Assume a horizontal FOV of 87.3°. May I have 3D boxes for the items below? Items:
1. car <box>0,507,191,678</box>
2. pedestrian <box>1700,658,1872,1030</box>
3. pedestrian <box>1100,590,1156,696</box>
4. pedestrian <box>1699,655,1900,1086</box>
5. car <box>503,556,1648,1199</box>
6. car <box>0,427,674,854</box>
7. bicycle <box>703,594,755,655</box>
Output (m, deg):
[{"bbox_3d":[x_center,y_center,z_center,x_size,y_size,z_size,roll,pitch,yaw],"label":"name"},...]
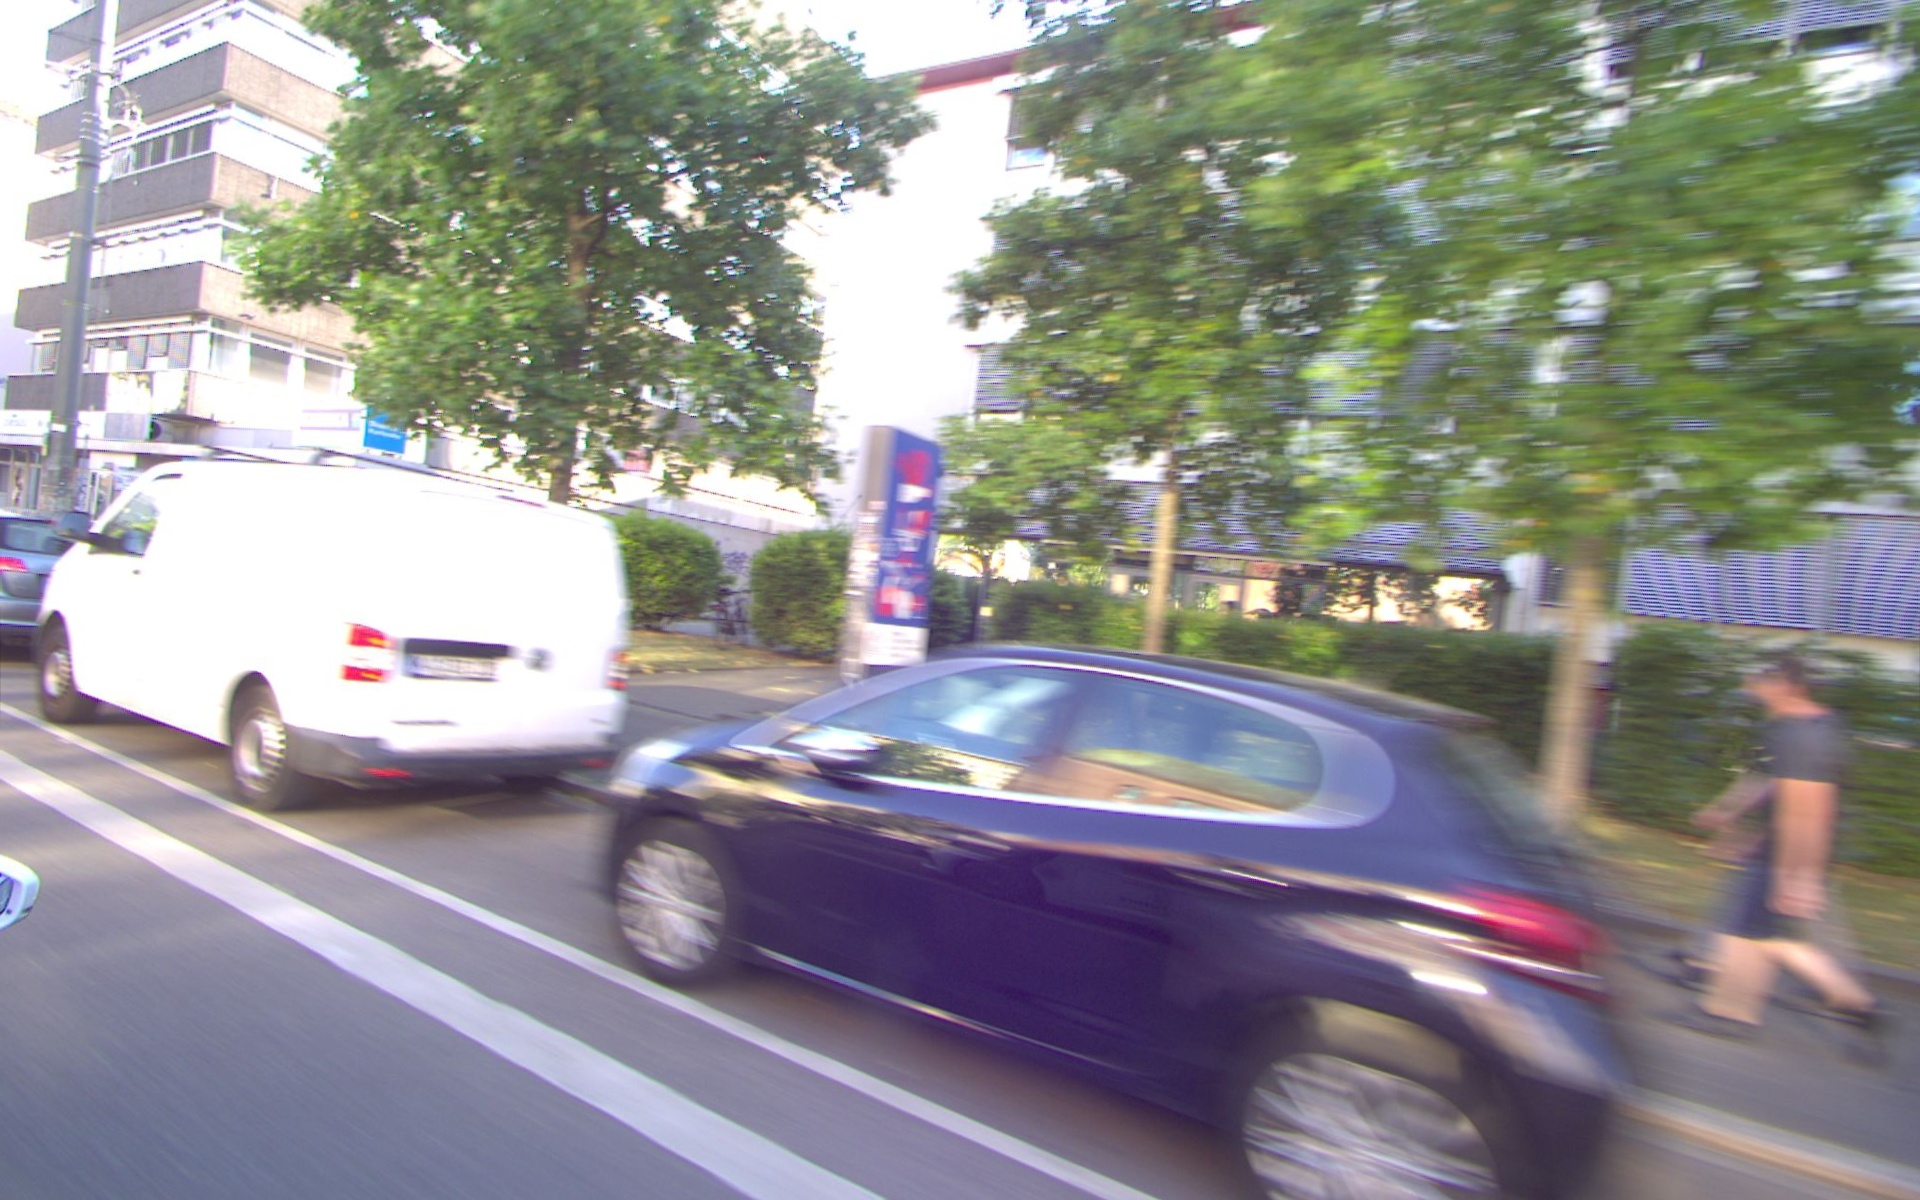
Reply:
[{"bbox_3d":[-9.796,-0.207,10.145,4.097,1.420,1.679,6,-3,30],"label":"car"},{"bbox_3d":[4.163,1.187,5.108,0.430,1.736,0.493,7,3,31],"label":"pedestrian"},{"bbox_3d":[2.828,0.726,16.949,0.539,1.711,0.566,7,1,37],"label":"pedestrian"},{"bbox_3d":[3.671,1.133,4.443,0.430,1.736,0.493,7,3,31],"label":"pedestrian"},{"bbox_3d":[0.225,0.841,3.943,3.847,1.509,1.687,7,-2,32],"label":"car"},{"bbox_3d":[-4.477,0.067,6.932,4.824,2.045,1.880,7,-1,32],"label":"car"},{"bbox_3d":[-3.963,0.415,17.340,0.361,0.971,1.620,6,-1,2],"label":"bicycle"}]
